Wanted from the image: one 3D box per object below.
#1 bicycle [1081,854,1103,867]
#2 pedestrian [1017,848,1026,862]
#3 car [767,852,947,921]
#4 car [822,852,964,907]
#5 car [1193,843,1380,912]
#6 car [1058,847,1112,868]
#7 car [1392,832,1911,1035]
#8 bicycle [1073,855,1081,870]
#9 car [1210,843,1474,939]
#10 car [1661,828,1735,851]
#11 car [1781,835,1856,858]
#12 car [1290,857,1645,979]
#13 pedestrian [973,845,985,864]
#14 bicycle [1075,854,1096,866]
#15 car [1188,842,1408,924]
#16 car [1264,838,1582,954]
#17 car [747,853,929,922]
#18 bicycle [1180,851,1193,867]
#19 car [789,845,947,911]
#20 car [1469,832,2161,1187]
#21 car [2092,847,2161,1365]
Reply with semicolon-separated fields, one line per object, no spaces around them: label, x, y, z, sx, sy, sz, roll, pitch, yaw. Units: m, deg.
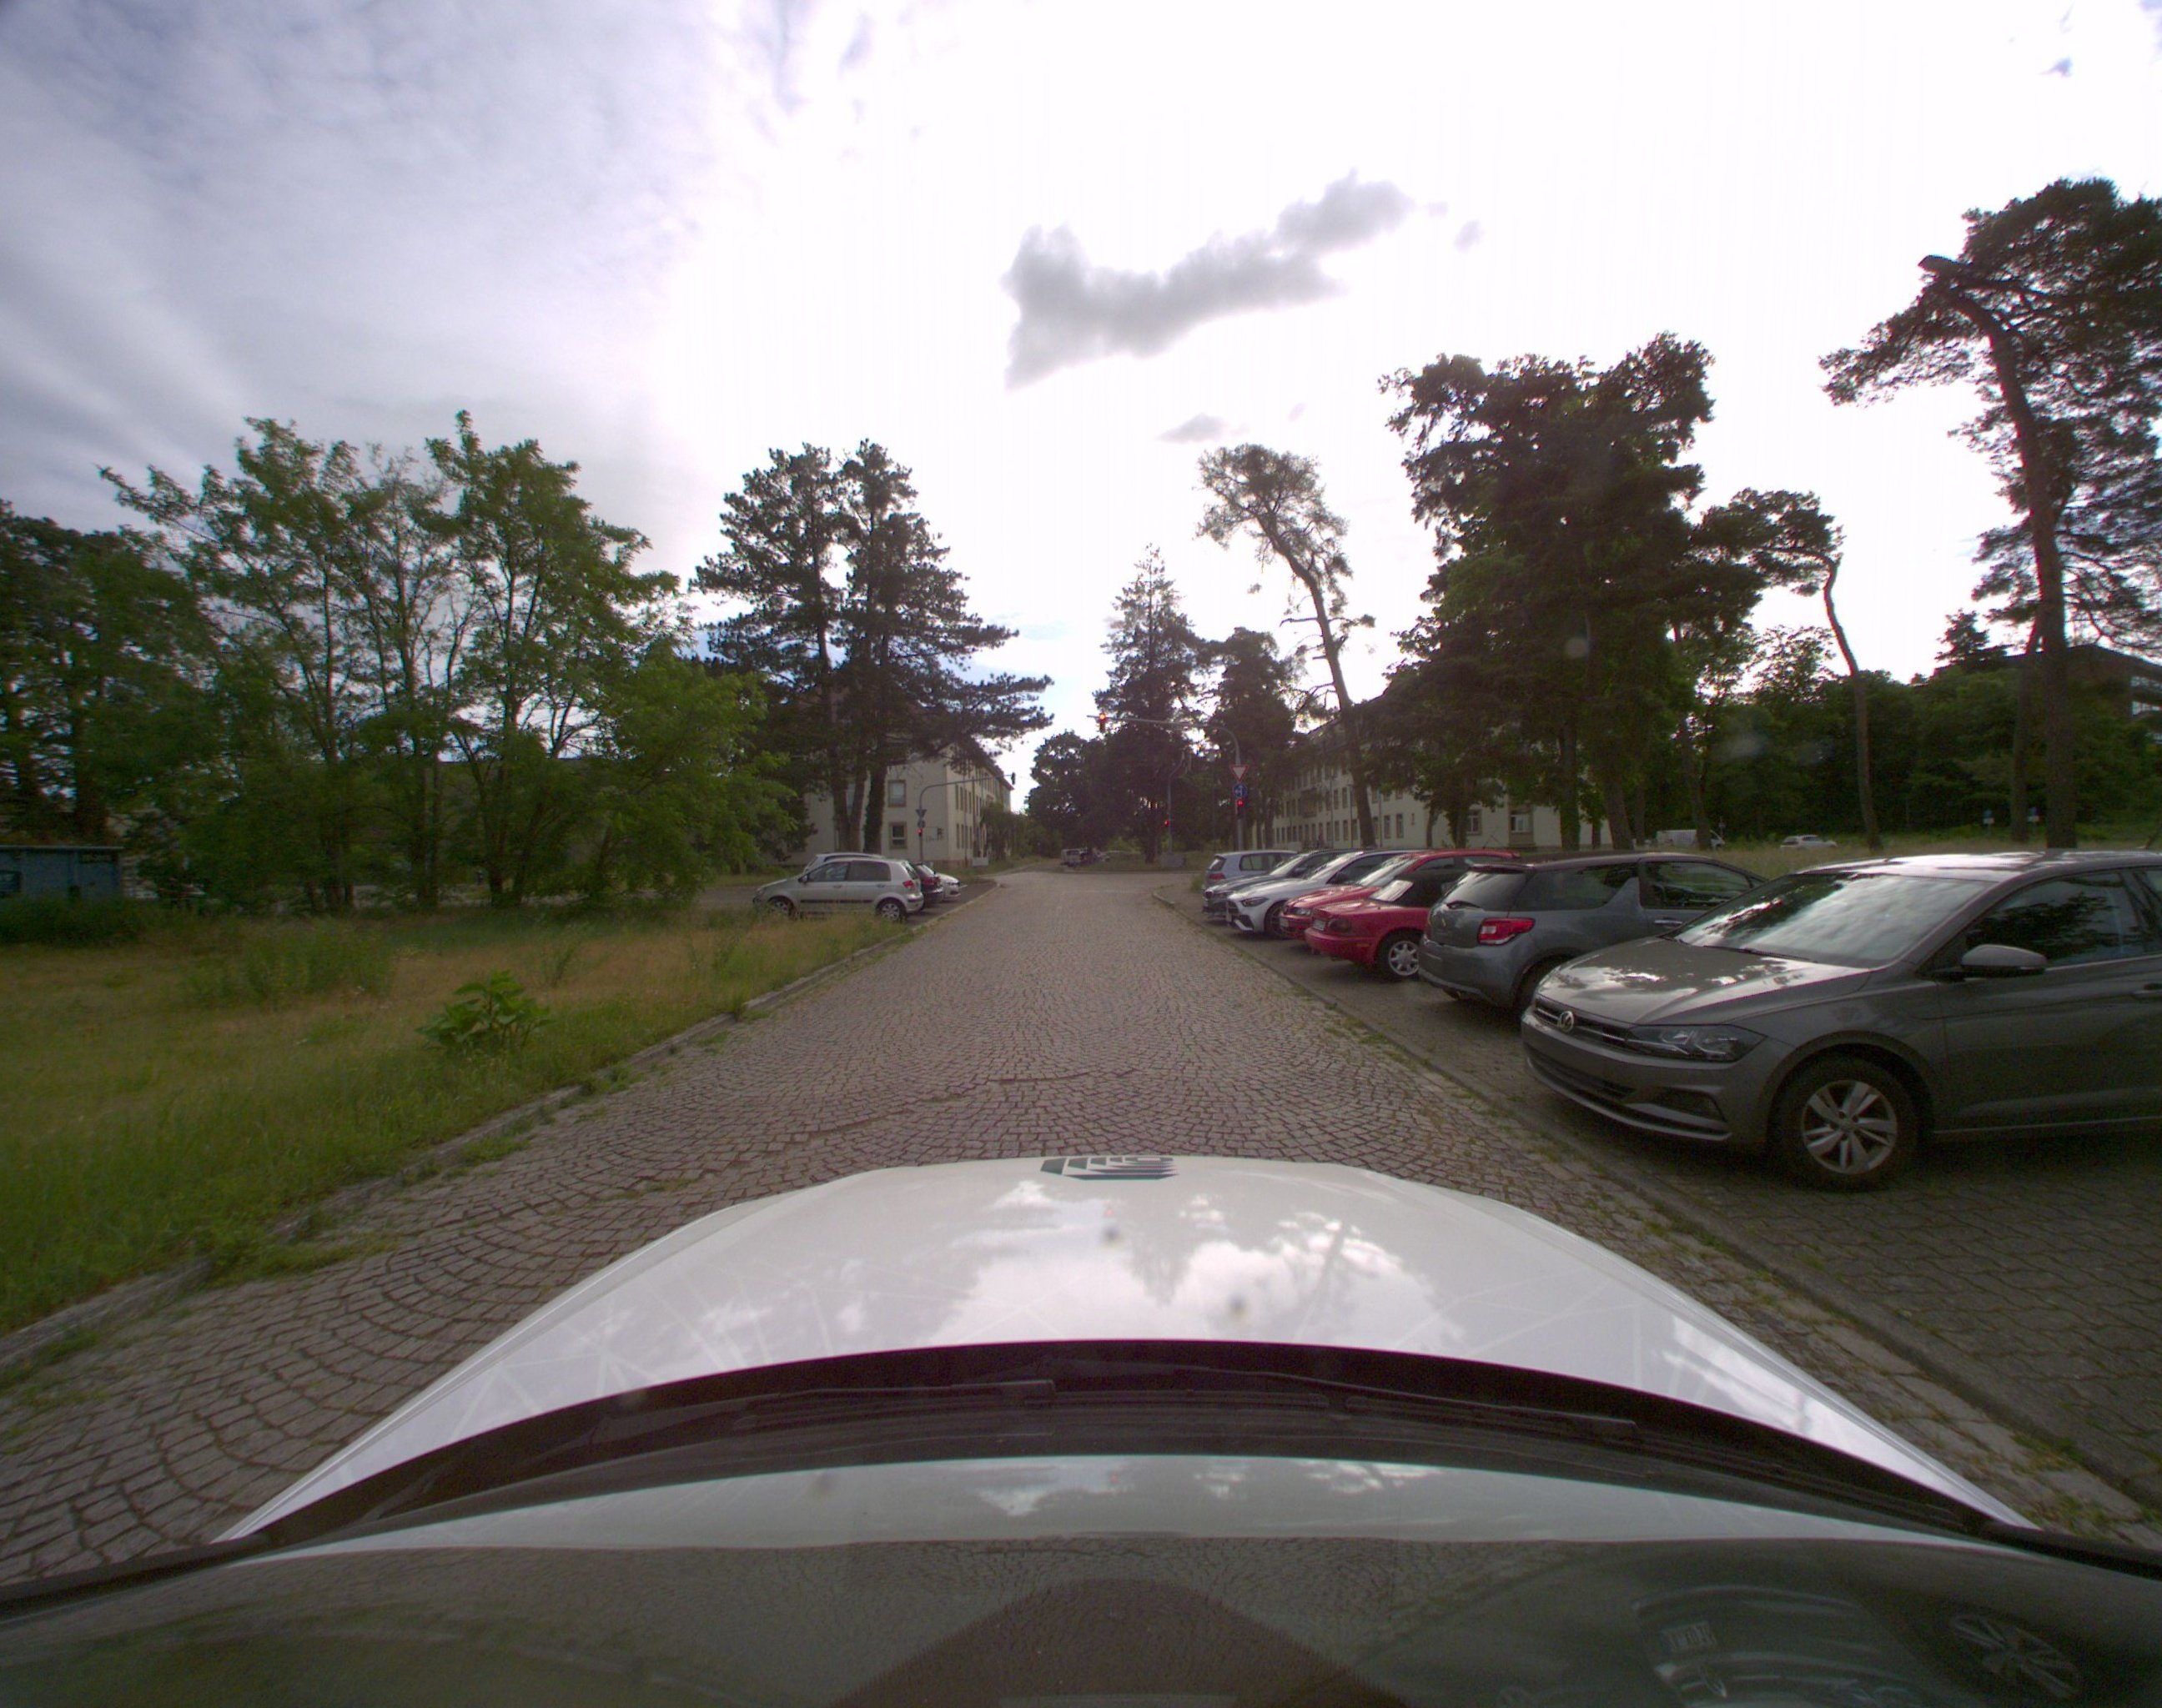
bicycle;0.958;0.561;72.061;1.879;1.171;0.663;0;0;-7
pedestrian;-8.527;0.088;116.235;1.238;1.959;1.119;0;0;-6
car;-5.779;0.801;21.473;4.294;1.554;1.808;-2;0;-7
car;-6.069;0.790;26.725;4.294;1.554;1.808;-2;0;-7
car;4.992;0.539;20.039;4.130;1.463;1.630;-2;0;-6
car;0.396;0.349;86.851;5.382;2.101;2.169;-1;0;-13
car;4.913;0.624;7.389;3.495;1.487;1.742;-2;0;-2
bicycle;-0.358;0.697;67.399;0.661;1.171;1.887;0;0;0
car;4.616;0.610;14.712;4.183;1.437;1.750;-2;0;-8
car;56.180;-1.273;74.210;5.283;2.019;2.105;0;0;0
car;57.444;-0.590;63.505;4.118;1.804;1.900;0;0;1
car;4.569;0.727;10.007;3.575;1.223;1.628;-2;0;0
pedestrian;-10.546;0.034;84.320;1.071;1.959;1.121;0;0;-1
bicycle;0.423;0.565;75.546;1.879;1.171;0.663;0;0;-7
car;4.611;0.576;17.478;4.231;1.479;1.703;-2;0;-12
car;5.046;0.580;12.359;4.095;1.476;1.683;-2;0;-3
car;-5.528;0.737;18.882;3.713;1.481;1.671;1;0;-4
bicycle;7.362;0.359;56.933;0.661;1.051;1.887;0;1;0
car;-6.239;0.686;24.268;4.293;1.732;1.649;-2;0;-6
car;4.637;0.667;4.516;4.118;1.447;1.765;-2;0;-1
car;4.899;0.663;1.617;3.643;1.478;1.765;-2;0;-1
